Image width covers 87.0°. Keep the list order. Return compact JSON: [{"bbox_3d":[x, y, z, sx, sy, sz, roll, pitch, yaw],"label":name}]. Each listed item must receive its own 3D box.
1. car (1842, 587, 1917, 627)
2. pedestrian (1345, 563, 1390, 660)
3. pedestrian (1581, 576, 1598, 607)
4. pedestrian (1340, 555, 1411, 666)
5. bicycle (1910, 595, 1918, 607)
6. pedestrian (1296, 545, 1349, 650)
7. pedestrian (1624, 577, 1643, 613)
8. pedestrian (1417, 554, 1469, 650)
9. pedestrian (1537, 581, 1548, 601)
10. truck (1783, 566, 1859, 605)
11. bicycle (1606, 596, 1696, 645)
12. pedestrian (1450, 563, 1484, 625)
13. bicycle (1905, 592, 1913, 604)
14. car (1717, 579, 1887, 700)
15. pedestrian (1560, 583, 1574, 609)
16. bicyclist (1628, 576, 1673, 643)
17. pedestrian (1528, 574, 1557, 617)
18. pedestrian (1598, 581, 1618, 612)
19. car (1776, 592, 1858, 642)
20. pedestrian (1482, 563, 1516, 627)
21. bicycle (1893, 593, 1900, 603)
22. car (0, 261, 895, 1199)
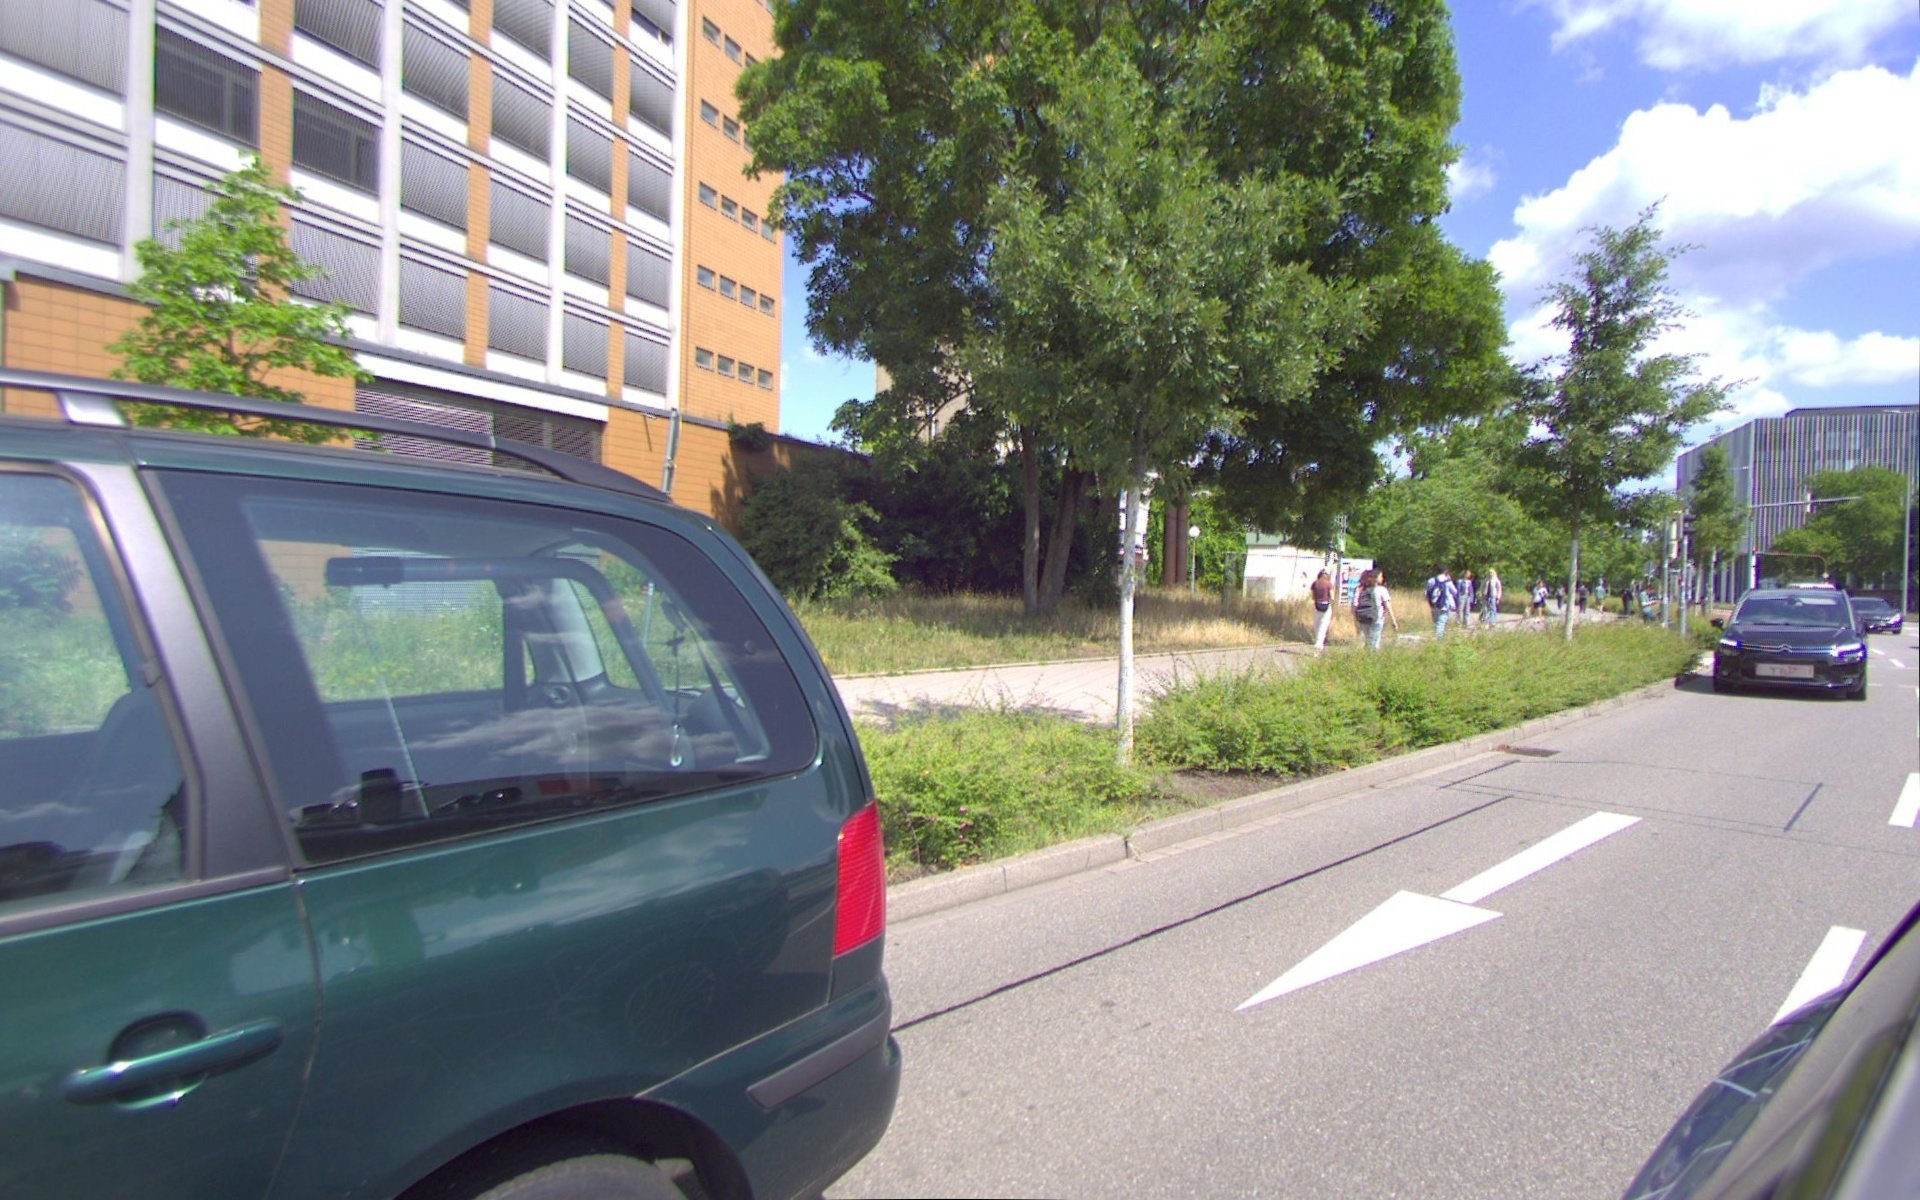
[{"bbox_3d":[37.695,0.261,41.583,1.741,1.523,4.463,-1,0,35],"label":"car"},{"bbox_3d":[7.095,0.177,17.619,0.585,1.646,0.718,0,1,36],"label":"pedestrian"},{"bbox_3d":[36.744,-0.507,59.045,0.661,1.768,0.605,3,1,22],"label":"pedestrian"},{"bbox_3d":[6.465,0.140,15.744,0.760,1.645,0.652,-1,4,-39],"label":"pedestrian"},{"bbox_3d":[92.725,0.066,98.397,1.641,1.121,0.382,0,1,-41],"label":"bicycle"},{"bbox_3d":[6.513,-0.058,18.170,0.754,1.844,0.630,0,1,36],"label":"pedestrian"},{"bbox_3d":[34.441,-0.247,51.753,0.662,1.771,0.840,3,1,27],"label":"pedestrian"},{"bbox_3d":[9.776,0.025,20.482,0.752,1.843,0.772,5,4,30],"label":"pedestrian"},{"bbox_3d":[53.201,-0.850,92.486,0.837,1.787,0.834,0,1,28],"label":"pedestrian"},{"bbox_3d":[54.765,-0.907,64.507,2.441,2.330,5.758,-1,0,28],"label":"truck"},{"bbox_3d":[17.511,0.509,25.673,1.804,1.062,0.584,5,4,35],"label":"bicycle"},{"bbox_3d":[15.052,-0.188,30.044,0.747,1.774,0.602,3,2,35],"label":"pedestrian"},{"bbox_3d":[92.998,-0.178,99.167,1.641,1.121,0.382,0,1,-41],"label":"bicycle"},{"bbox_3d":[13.487,0.502,16.186,1.857,1.643,4.452,1,1,41],"label":"car"},{"bbox_3d":[43.280,-0.285,72.201,0.745,1.771,0.661,3,1,28],"label":"pedestrian"},{"bbox_3d":[17.514,0.232,25.665,0.825,1.620,0.572,5,4,35],"label":"bicyclist"},{"bbox_3d":[22.239,-0.175,38.668,0.743,1.616,0.876,3,1,20],"label":"pedestrian"},{"bbox_3d":[37.671,-0.208,58.843,0.743,1.799,0.875,3,1,22],"label":"pedestrian"},{"bbox_3d":[26.621,0.485,31.531,1.757,1.435,4.303,-1,0,38],"label":"car"},{"bbox_3d":[15.931,-0.153,29.892,0.747,1.824,0.602,3,2,35],"label":"pedestrian"},{"bbox_3d":[93.909,-0.185,101.498,1.641,1.030,0.329,0,1,-41],"label":"bicycle"},{"bbox_3d":[-2.330,0.543,0.994,4.372,1.745,1.796,-1,0,-42],"label":"car"}]
